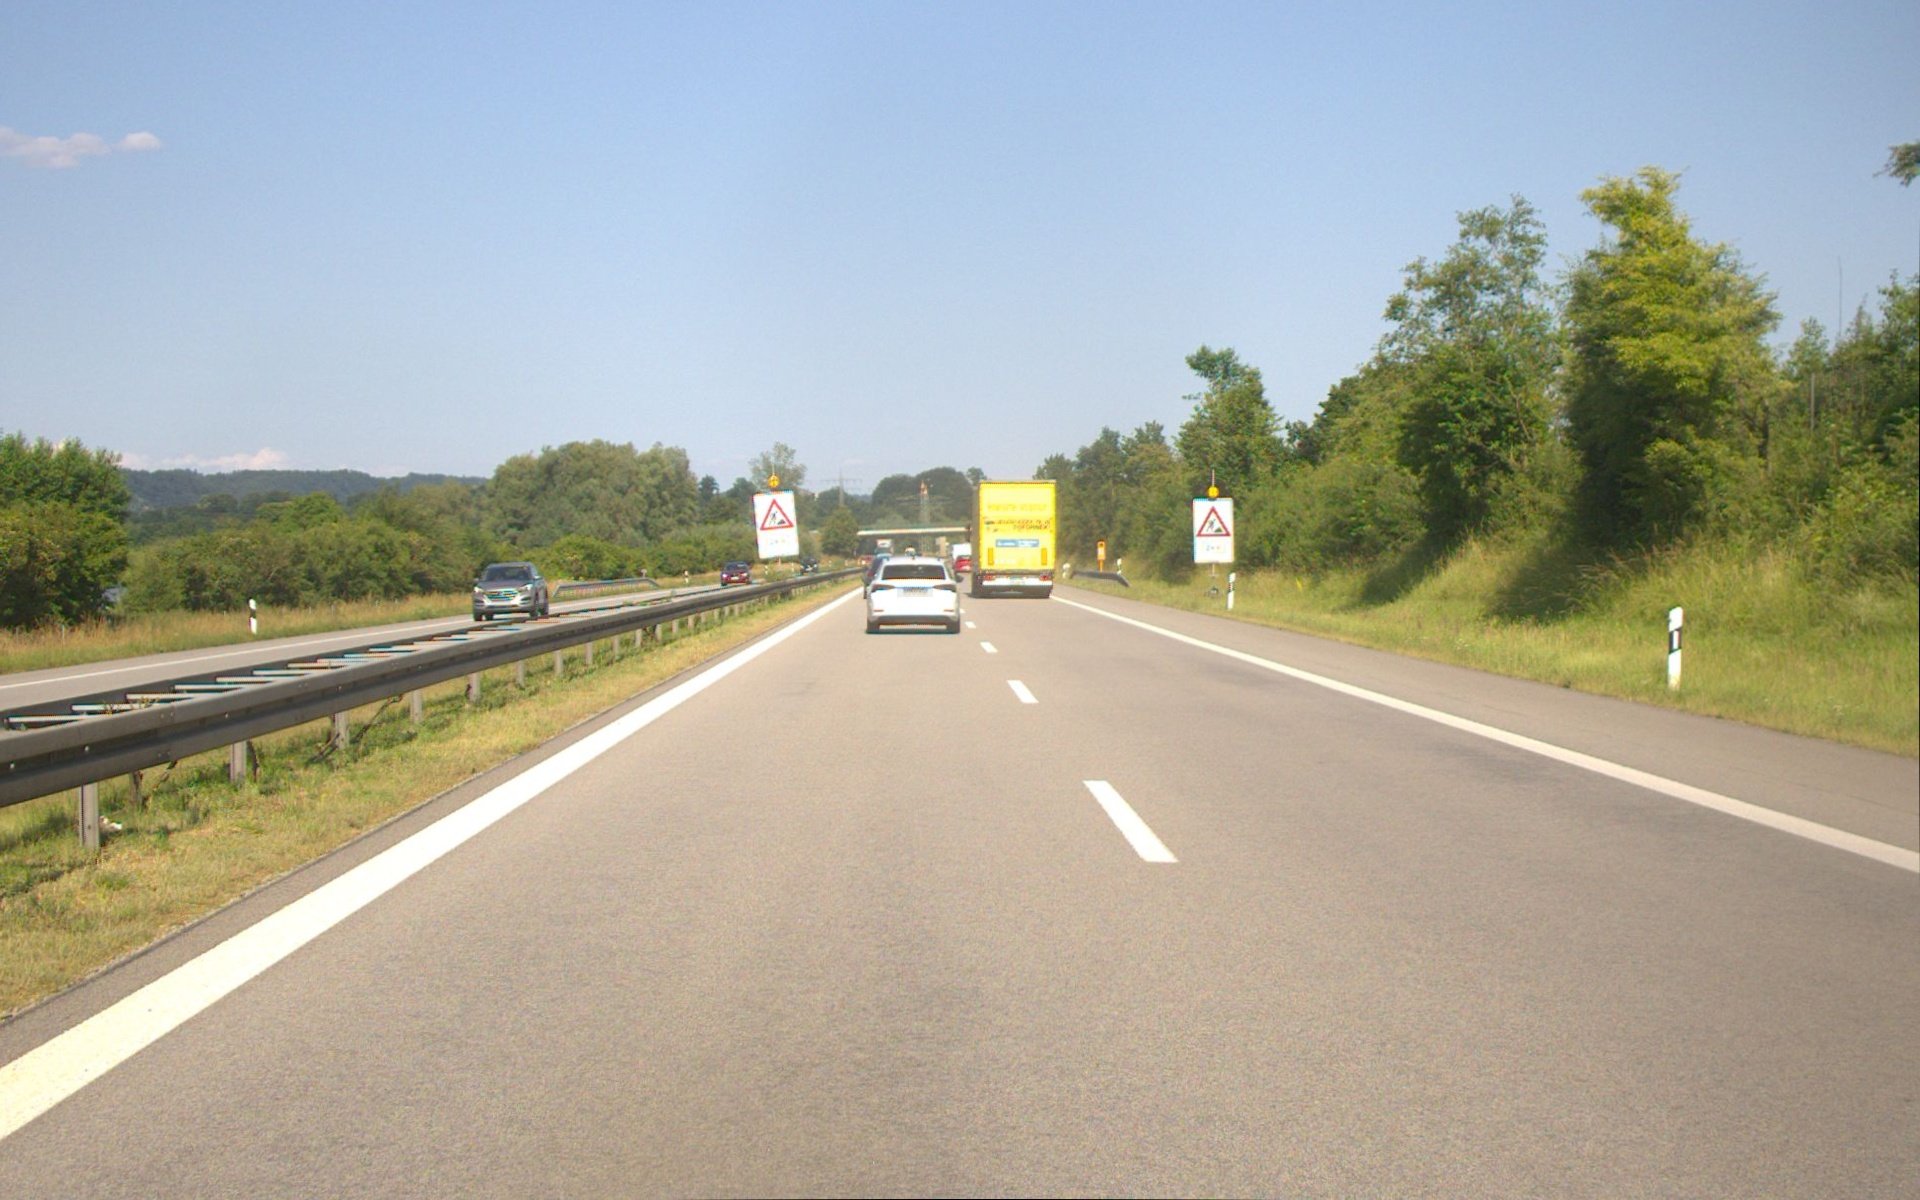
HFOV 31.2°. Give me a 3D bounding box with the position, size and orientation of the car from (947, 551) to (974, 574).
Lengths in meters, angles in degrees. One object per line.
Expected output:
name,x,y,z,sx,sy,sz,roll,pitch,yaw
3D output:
car,0.007,-2.799,255.215,1.902,1.677,4.731,2,1,-1

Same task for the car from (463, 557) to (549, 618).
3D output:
car,-13.284,-0.391,100.824,1.902,1.677,4.731,-2,1,-1

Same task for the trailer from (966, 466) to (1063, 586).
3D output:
trailer,1.848,-2.580,122.937,3.184,4.045,13.187,1,1,0

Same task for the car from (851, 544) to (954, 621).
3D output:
car,-1.071,-0.343,65.806,1.843,1.411,4.000,1,1,1

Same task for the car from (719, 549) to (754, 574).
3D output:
car,-13.696,-2.350,210.913,1.832,1.393,4.923,-4,1,-1

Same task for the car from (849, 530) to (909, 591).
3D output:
car,-2.764,-1.350,117.478,1.993,2.007,4.000,1,1,-1

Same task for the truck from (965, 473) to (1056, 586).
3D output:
truck,1.853,-2.626,129.038,3.168,4.100,6.389,1,1,-1
